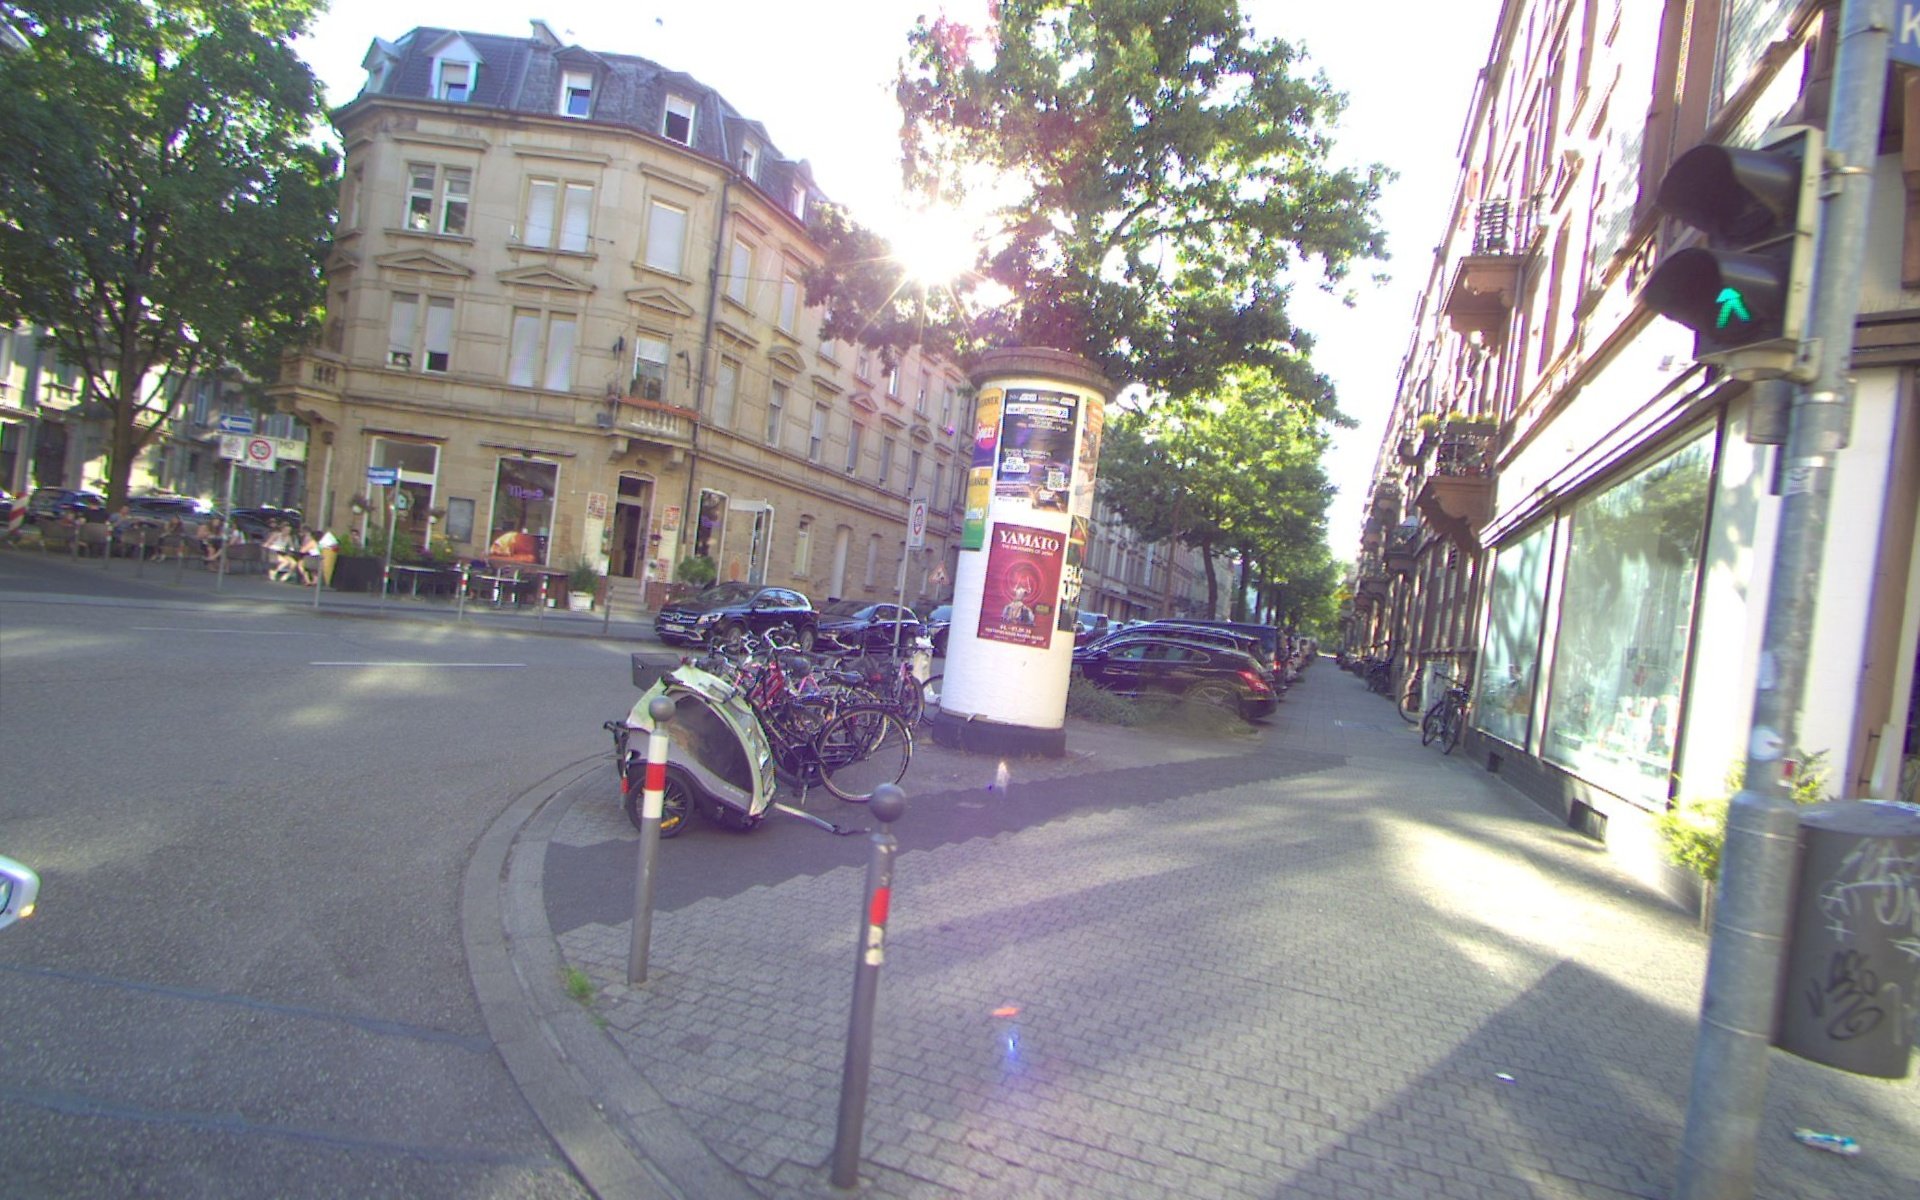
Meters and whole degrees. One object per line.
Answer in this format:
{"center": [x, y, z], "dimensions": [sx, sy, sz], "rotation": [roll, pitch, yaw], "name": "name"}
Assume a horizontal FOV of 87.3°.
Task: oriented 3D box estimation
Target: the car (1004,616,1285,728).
{"center": [3.392, 1.273, 18.519], "dimensions": [4.714, 1.430, 1.850], "rotation": [5, -1, 23], "name": "car"}

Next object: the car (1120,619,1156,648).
{"center": [12.907, 2.443, 72.910], "dimensions": [1.731, 1.865, 4.529], "rotation": [7, 0, 19], "name": "car"}

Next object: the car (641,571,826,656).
{"center": [-4.838, 0.361, 22.112], "dimensions": [1.732, 1.506, 4.136], "rotation": [6, -1, 24], "name": "car"}

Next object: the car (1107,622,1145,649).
{"center": [11.322, 2.428, 68.416], "dimensions": [1.731, 1.485, 3.999], "rotation": [9, 1, 19], "name": "car"}

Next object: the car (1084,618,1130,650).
{"center": [9.113, 2.130, 62.176], "dimensions": [1.727, 1.628, 4.383], "rotation": [9, 1, 20], "name": "car"}

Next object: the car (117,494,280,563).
{"center": [-24.080, -2.242, 31.893], "dimensions": [1.780, 1.581, 3.814], "rotation": [7, 0, 45], "name": "car"}

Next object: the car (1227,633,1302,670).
{"center": [18.520, 3.125, 61.182], "dimensions": [4.156, 1.799, 1.834], "rotation": [5, 0, 19], "name": "car"}

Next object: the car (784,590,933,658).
{"center": [-2.595, 0.698, 26.928], "dimensions": [1.733, 1.469, 4.547], "rotation": [6, -1, 26], "name": "car"}

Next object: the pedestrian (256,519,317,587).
{"center": [-15.488, -1.062, 23.157], "dimensions": [0.742, 1.428, 0.728], "rotation": [7, 1, 9], "name": "pedestrian"}

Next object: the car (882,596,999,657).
{"center": [-0.519, 0.883, 31.428], "dimensions": [1.732, 1.620, 4.546], "rotation": [6, 0, 24], "name": "car"}

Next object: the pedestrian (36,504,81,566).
{"center": [-20.858, -1.504, 23.278], "dimensions": [0.496, 1.337, 0.571], "rotation": [8, 2, 31], "name": "pedestrian"}

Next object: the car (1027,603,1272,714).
{"center": [3.943, 1.174, 20.921], "dimensions": [4.616, 1.699, 1.851], "rotation": [5, -1, 22], "name": "car"}

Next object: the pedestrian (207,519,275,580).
{"center": [-16.707, -1.162, 23.376], "dimensions": [1.005, 1.264, 0.749], "rotation": [7, 1, 18], "name": "pedestrian"}

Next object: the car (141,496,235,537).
{"center": [-34.816, -3.731, 45.475], "dimensions": [1.899, 1.393, 3.741], "rotation": [7, 0, -14], "name": "car"}

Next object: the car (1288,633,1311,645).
{"center": [67.395, 7.753, 199.695], "dimensions": [3.931, 1.883, 1.748], "rotation": [8, 1, 29], "name": "car"}

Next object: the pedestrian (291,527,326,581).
{"center": [-16.296, -1.140, 25.157], "dimensions": [0.473, 1.264, 0.433], "rotation": [7, 2, 18], "name": "pedestrian"}

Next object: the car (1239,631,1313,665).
{"center": [23.483, 3.545, 74.743], "dimensions": [4.979, 1.950, 1.834], "rotation": [5, 0, 20], "name": "car"}

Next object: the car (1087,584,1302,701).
{"center": [6.015, 1.049, 25.746], "dimensions": [4.944, 2.242, 1.993], "rotation": [7, 0, 20], "name": "car"}

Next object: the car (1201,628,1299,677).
{"center": [14.175, 2.537, 49.153], "dimensions": [4.374, 1.949, 1.849], "rotation": [4, 1, 18], "name": "car"}

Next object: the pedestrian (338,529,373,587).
{"center": [-15.135, -1.047, 25.191], "dimensions": [0.473, 1.384, 0.434], "rotation": [7, 2, 12], "name": "pedestrian"}

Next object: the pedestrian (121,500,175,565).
{"center": [-19.684, -1.624, 24.379], "dimensions": [0.657, 1.460, 0.765], "rotation": [6, 1, 33], "name": "pedestrian"}

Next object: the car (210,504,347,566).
{"center": [-25.609, -2.435, 37.849], "dimensions": [3.971, 1.704, 1.977], "rotation": [8, 0, -41], "name": "car"}

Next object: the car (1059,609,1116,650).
{"center": [7.240, 1.679, 56.559], "dimensions": [1.804, 1.967, 5.259], "rotation": [9, 1, 20], "name": "car"}

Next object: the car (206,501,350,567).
{"center": [-24.057, -2.323, 35.688], "dimensions": [3.958, 1.704, 1.984], "rotation": [7, 0, -31], "name": "car"}

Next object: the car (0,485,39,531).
{"center": [-31.346, -3.066, 31.586], "dimensions": [1.899, 1.393, 3.741], "rotation": [7, 0, -14], "name": "car"}

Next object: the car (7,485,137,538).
{"center": [-32.303, -3.180, 36.738], "dimensions": [1.899, 1.393, 3.741], "rotation": [7, 0, -14], "name": "car"}

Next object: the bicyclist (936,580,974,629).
{"center": [-0.193, 0.199, 40.845], "dimensions": [0.980, 1.812, 1.207], "rotation": [7, 1, 21], "name": "bicyclist"}

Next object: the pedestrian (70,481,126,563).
{"center": [-20.120, -1.810, 23.486], "dimensions": [0.563, 1.793, 0.765], "rotation": [6, 1, 33], "name": "pedestrian"}

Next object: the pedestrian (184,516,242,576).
{"center": [-17.554, -1.263, 23.641], "dimensions": [0.693, 1.264, 0.749], "rotation": [7, 1, 18], "name": "pedestrian"}

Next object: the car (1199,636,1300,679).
{"center": [13.434, 2.614, 46.621], "dimensions": [4.277, 1.576, 1.849], "rotation": [4, 1, 20], "name": "car"}

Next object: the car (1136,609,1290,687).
{"center": [8.285, 1.550, 32.944], "dimensions": [4.602, 2.058, 1.879], "rotation": [5, 0, 18], "name": "car"}

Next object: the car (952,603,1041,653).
{"center": [1.391, 1.052, 36.225], "dimensions": [1.732, 1.519, 4.057], "rotation": [6, 0, 23], "name": "car"}
